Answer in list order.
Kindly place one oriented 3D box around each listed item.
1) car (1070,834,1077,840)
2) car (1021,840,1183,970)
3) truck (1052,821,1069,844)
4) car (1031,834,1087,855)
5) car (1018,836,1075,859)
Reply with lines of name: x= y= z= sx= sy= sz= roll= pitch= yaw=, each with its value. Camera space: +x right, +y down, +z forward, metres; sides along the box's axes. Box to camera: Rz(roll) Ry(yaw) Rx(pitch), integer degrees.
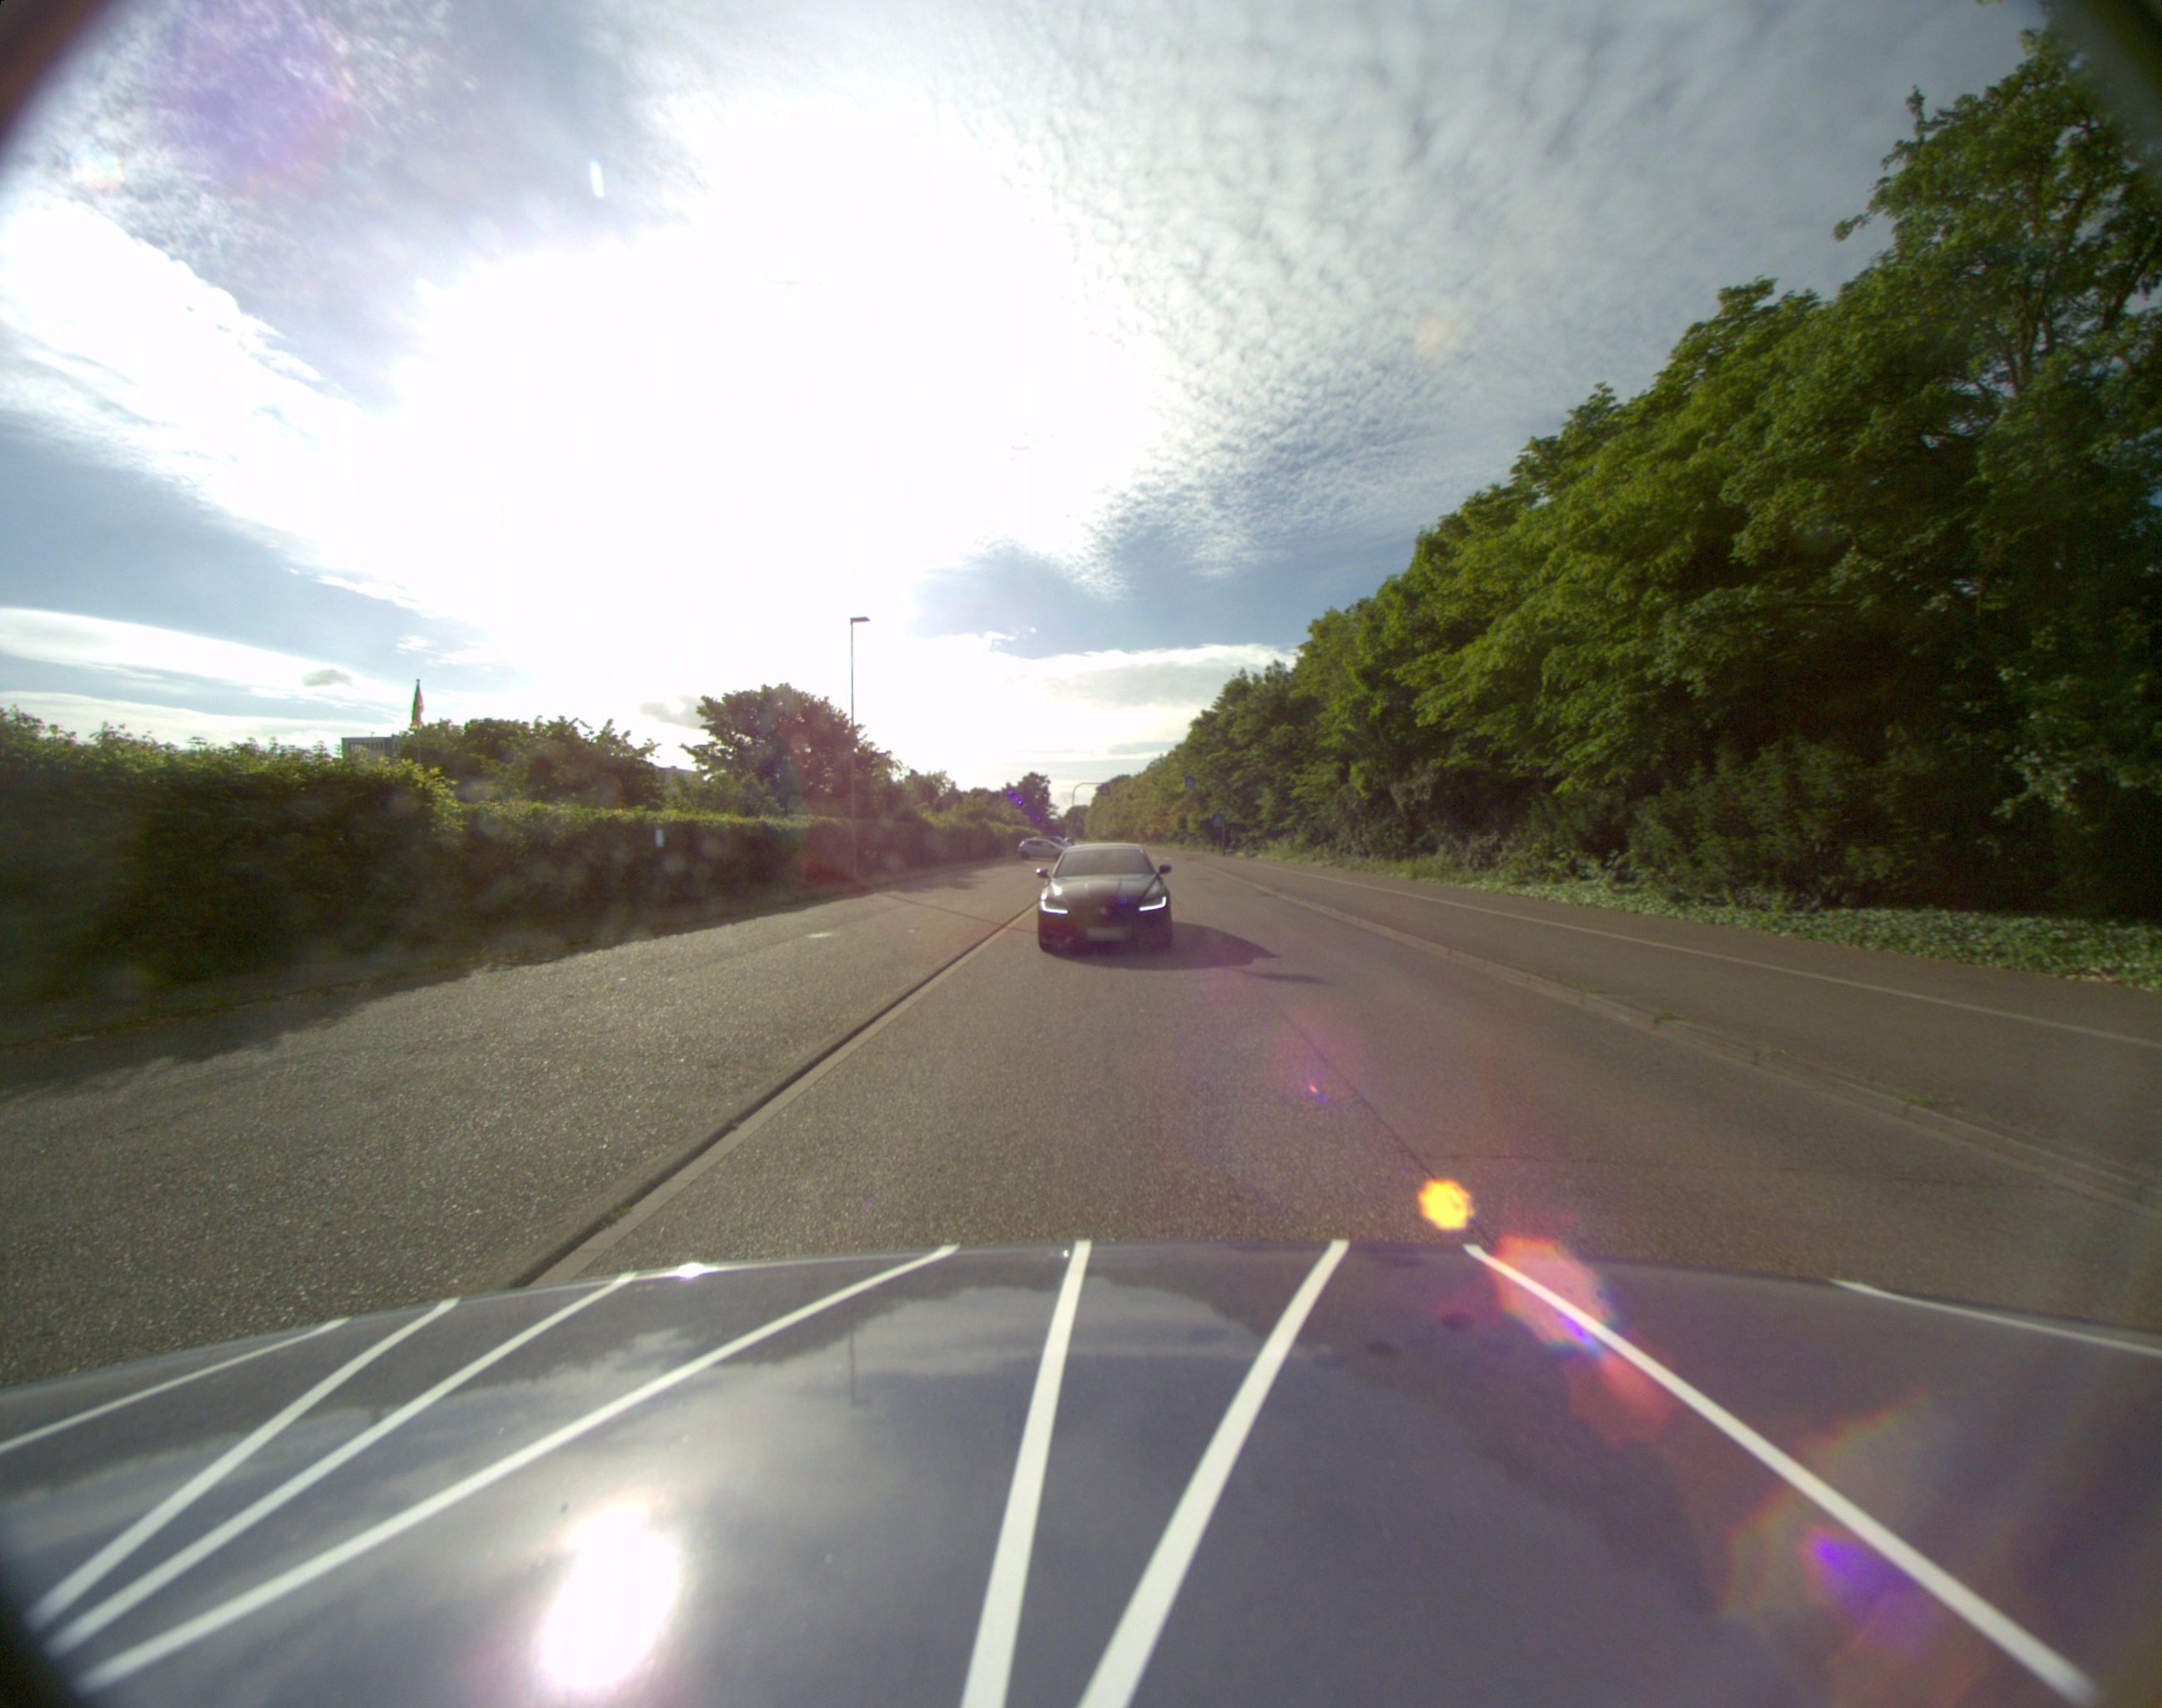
car: x=-2.160 y=-4.911 z=220.075 sx=1.807 sy=1.577 sz=4.100 roll=0 pitch=2 yaw=-1
car: x=0.329 y=0.581 z=11.492 sx=1.936 sy=1.501 sz=4.679 roll=-1 pitch=2 yaw=2
truck: x=-3.658 y=-3.785 z=134.380 sx=2.603 sy=3.936 sz=6.279 roll=3 pitch=1 yaw=-5
car: x=-1.828 y=-0.850 z=64.492 sx=4.598 sy=1.690 sz=1.763 roll=1 pitch=2 yaw=3
car: x=-2.391 y=-0.448 z=53.762 sx=3.866 sy=1.481 sz=1.692 roll=2 pitch=1 yaw=2
